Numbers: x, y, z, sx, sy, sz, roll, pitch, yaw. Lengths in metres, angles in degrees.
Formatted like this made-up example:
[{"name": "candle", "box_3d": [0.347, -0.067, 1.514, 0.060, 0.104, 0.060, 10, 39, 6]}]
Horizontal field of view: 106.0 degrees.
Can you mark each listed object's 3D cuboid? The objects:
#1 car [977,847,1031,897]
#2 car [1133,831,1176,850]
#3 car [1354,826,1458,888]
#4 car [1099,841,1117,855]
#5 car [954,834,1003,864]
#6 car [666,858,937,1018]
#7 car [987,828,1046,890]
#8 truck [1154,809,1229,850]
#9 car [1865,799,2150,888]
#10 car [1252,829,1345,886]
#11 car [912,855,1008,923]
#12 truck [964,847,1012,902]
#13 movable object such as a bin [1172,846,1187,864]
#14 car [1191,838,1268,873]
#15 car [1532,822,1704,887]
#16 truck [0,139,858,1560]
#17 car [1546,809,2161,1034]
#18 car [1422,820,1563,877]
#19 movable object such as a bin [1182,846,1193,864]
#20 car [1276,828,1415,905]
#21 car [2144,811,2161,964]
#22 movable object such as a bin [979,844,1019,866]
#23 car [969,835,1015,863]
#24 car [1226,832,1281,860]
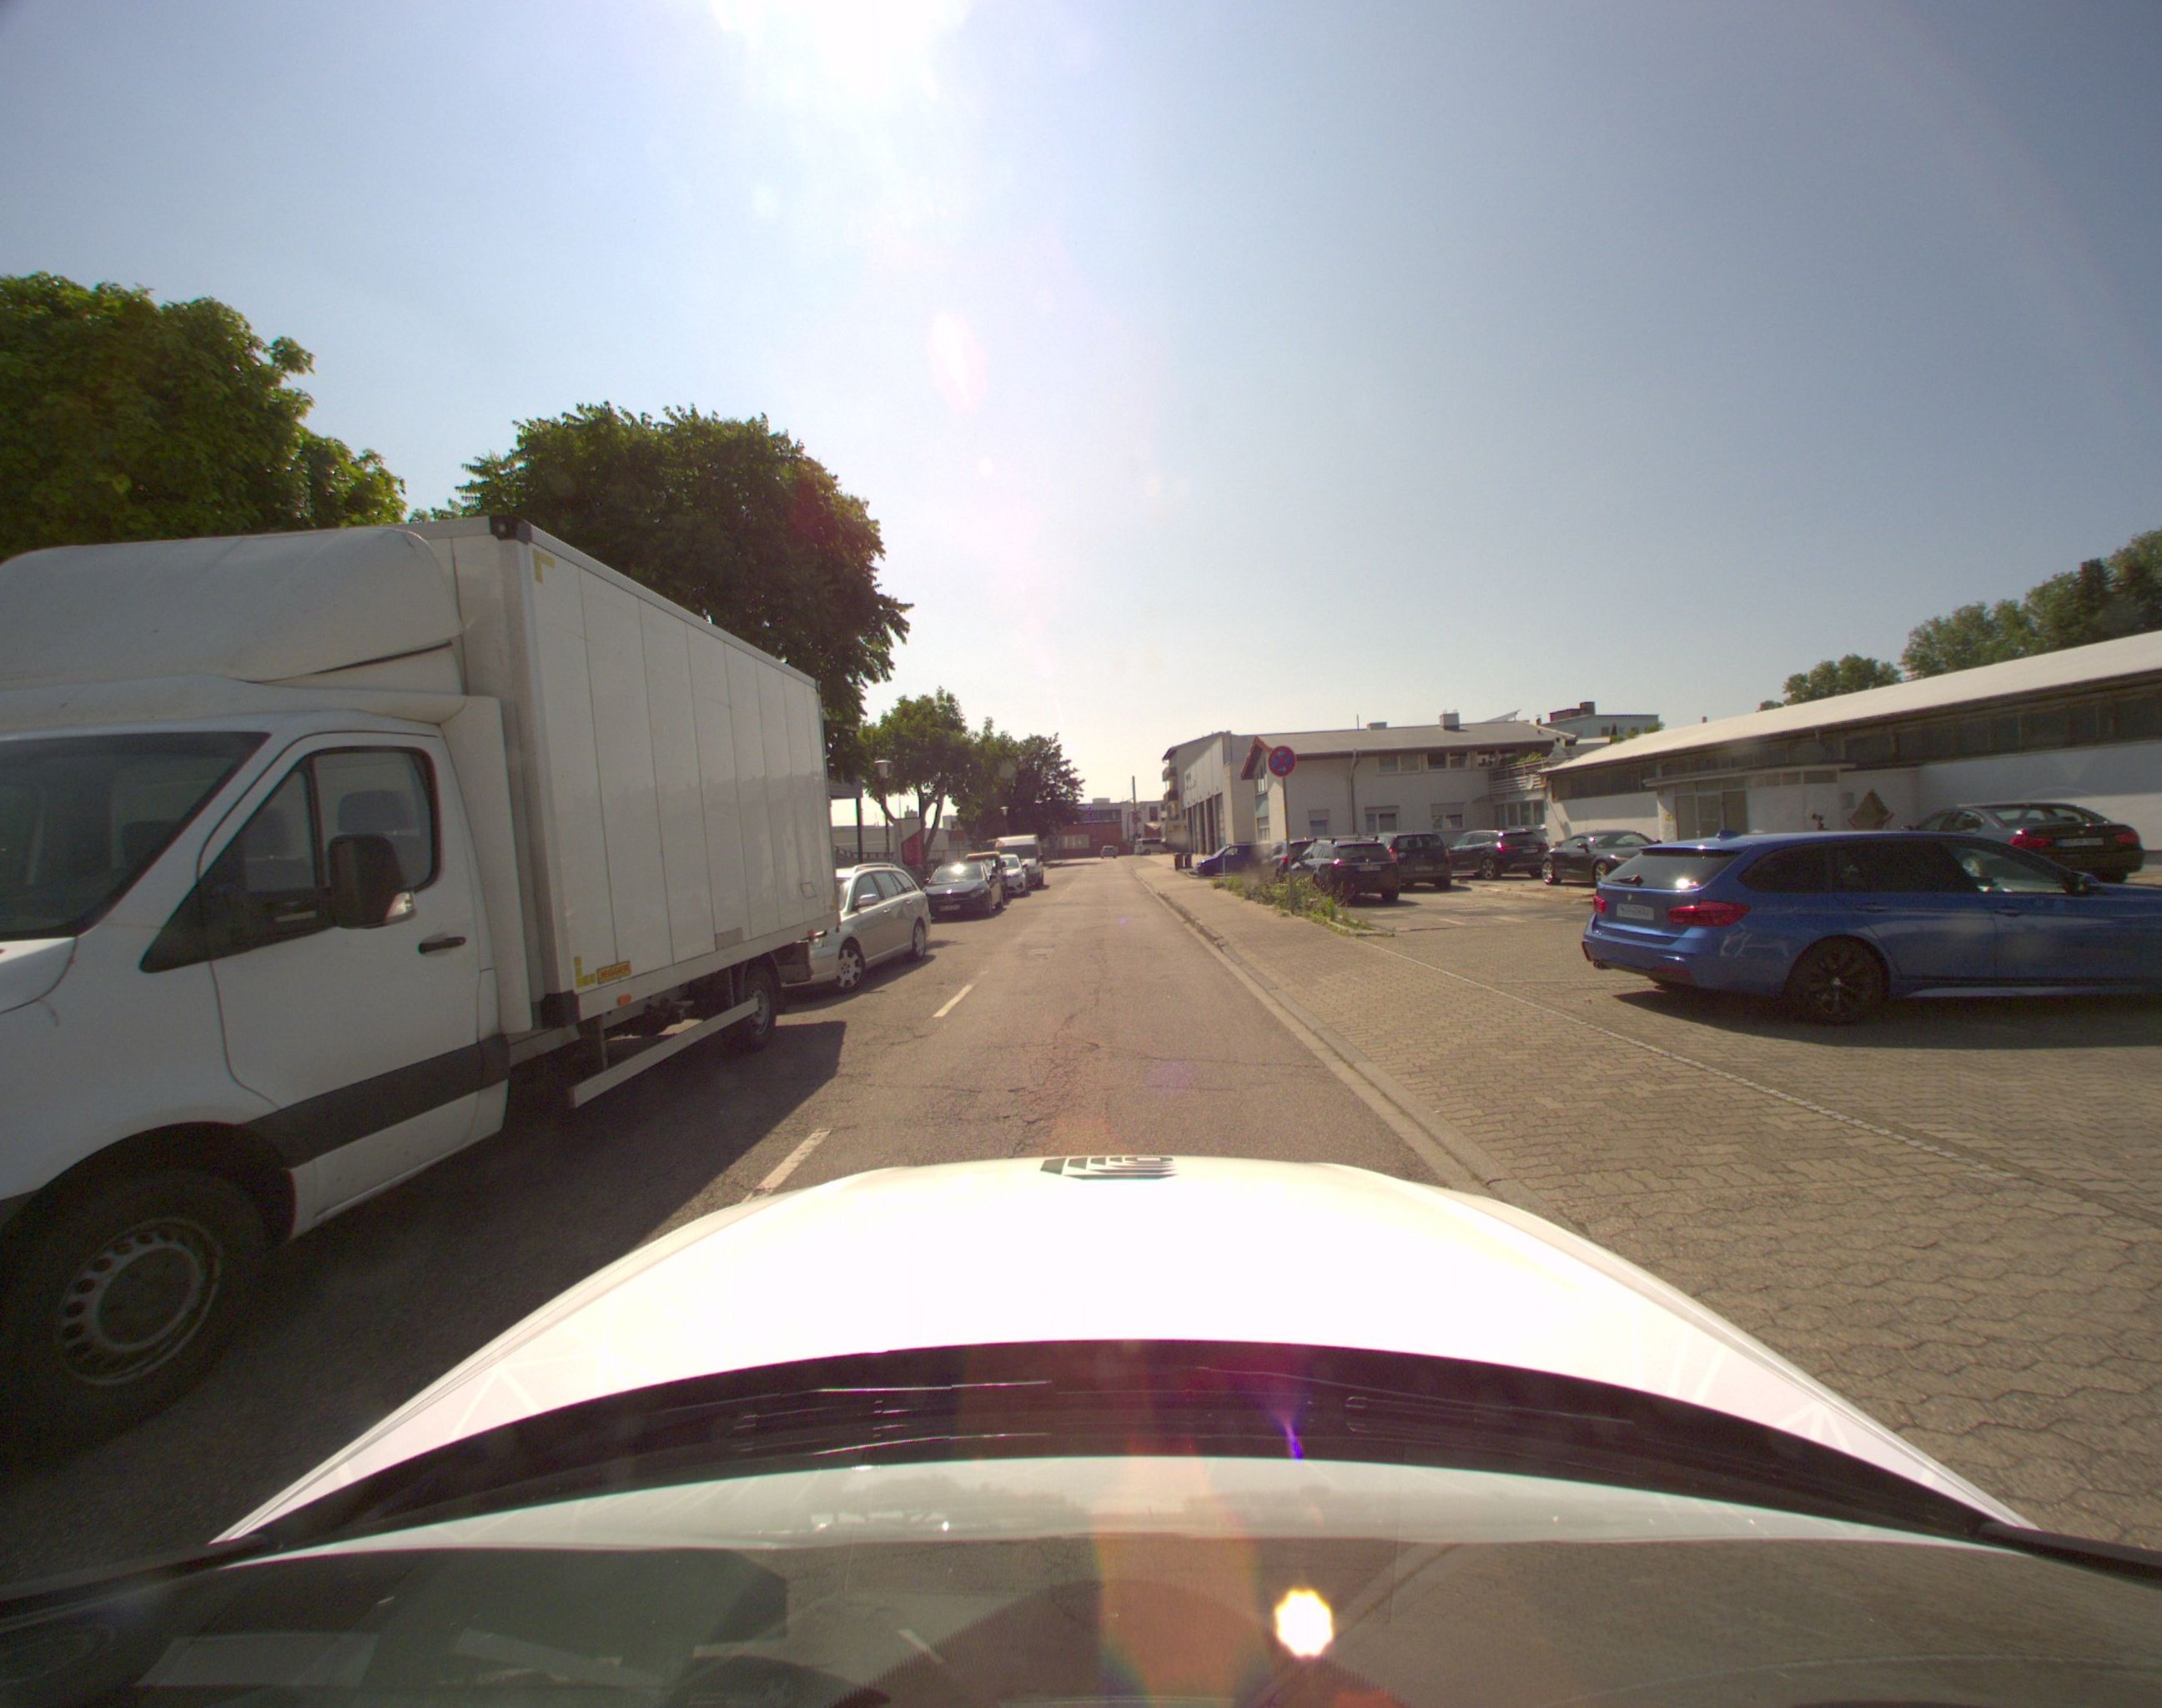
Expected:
[{"name": "car", "box_3d": [-2.846, 0.632, 30.782, 1.701, 1.624, 3.969, -4, 0, -3]}, {"name": "car", "box_3d": [8.723, -1.596, 97.090, 4.666, 1.957, 1.905, -3, 1, -17]}, {"name": "car", "box_3d": [9.051, 0.047, 22.952, 1.751, 1.595, 3.624, 0, 1, 5]}, {"name": "car", "box_3d": [3.311, -0.718, 99.475, 1.886, 1.685, 3.953, 0, 0, -3]}, {"name": "car", "box_3d": [-9.297, -0.454, 74.000, 4.073, 2.513, 1.777, -3, 1, -1]}, {"name": "car", "box_3d": [-3.375, 0.906, 10.839, 1.733, 1.521, 4.316, -4, 1, 4]}, {"name": "car", "box_3d": [-2.748, 0.176, 35.957, 1.999, 2.366, 5.229, -5, 1, 0]}, {"name": "truck", "box_3d": [11.991, -2.693, 88.599, 7.346, 3.644, 2.764, -6, 1, -5]}, {"name": "car", "box_3d": [16.423, -0.218, 14.786, 1.694, 1.324, 4.210, -3, 1, 22]}, {"name": "car", "box_3d": [6.709, 0.073, 25.606, 1.805, 1.558, 4.294, -3, 1, 1]}, {"name": "car", "box_3d": [-3.103, 0.859, 21.736, 1.698, 1.463, 4.116, -4, 0, 2]}, {"name": "truck", "box_3d": [-3.047, 0.617, 27.174, 1.135, 1.622, 3.140, -5, 1, 0]}, {"name": "movable object such as a bin", "box_3d": [5.436, 0.053, 45.128, 0.562, 0.946, 0.561, -3, 1, 35]}, {"name": "car", "box_3d": [6.798, 0.048, 37.435, 3.240, 1.398, 1.674, -3, 1, 2]}, {"name": "car", "box_3d": [12.675, -0.020, 19.569, 1.634, 1.324, 4.106, -3, 1, 4]}, {"name": "truck", "box_3d": [-3.835, 0.007, 4.952, 2.676, 3.366, 7.131, -4, 0, 1]}, {"name": "car", "box_3d": [6.677, 0.475, 6.919, 4.337, 1.441, 1.892, -3, 0, 1]}, {"name": "car", "box_3d": [12.621, -0.161, 25.329, 1.759, 1.495, 4.136, -5, 1, -9]}, {"name": "movable object such as a bin", "box_3d": [5.942, 0.047, 45.529, 0.510, 0.946, 0.489, -3, 1, 13]}, {"name": "car", "box_3d": [6.341, 0.233, 20.147, 1.852, 1.567, 4.953, -3, 1, 1]}, {"name": "car", "box_3d": [11.152, 0.284, 5.568, 1.881, 1.441, 4.453, -3, 0, -1]}, {"name": "movable object such as a bin", "box_3d": [-6.677, 0.060, 66.799, 2.612, 1.510, 2.734, -4, 1, 7]}, {"name": "car", "box_3d": [-8.563, -0.487, 78.812, 4.073, 2.513, 1.777, -3, 1, -1]}, {"name": "car", "box_3d": [11.308, -0.548, 53.151, 1.756, 1.539, 3.726, -3, 1, 43]}]
